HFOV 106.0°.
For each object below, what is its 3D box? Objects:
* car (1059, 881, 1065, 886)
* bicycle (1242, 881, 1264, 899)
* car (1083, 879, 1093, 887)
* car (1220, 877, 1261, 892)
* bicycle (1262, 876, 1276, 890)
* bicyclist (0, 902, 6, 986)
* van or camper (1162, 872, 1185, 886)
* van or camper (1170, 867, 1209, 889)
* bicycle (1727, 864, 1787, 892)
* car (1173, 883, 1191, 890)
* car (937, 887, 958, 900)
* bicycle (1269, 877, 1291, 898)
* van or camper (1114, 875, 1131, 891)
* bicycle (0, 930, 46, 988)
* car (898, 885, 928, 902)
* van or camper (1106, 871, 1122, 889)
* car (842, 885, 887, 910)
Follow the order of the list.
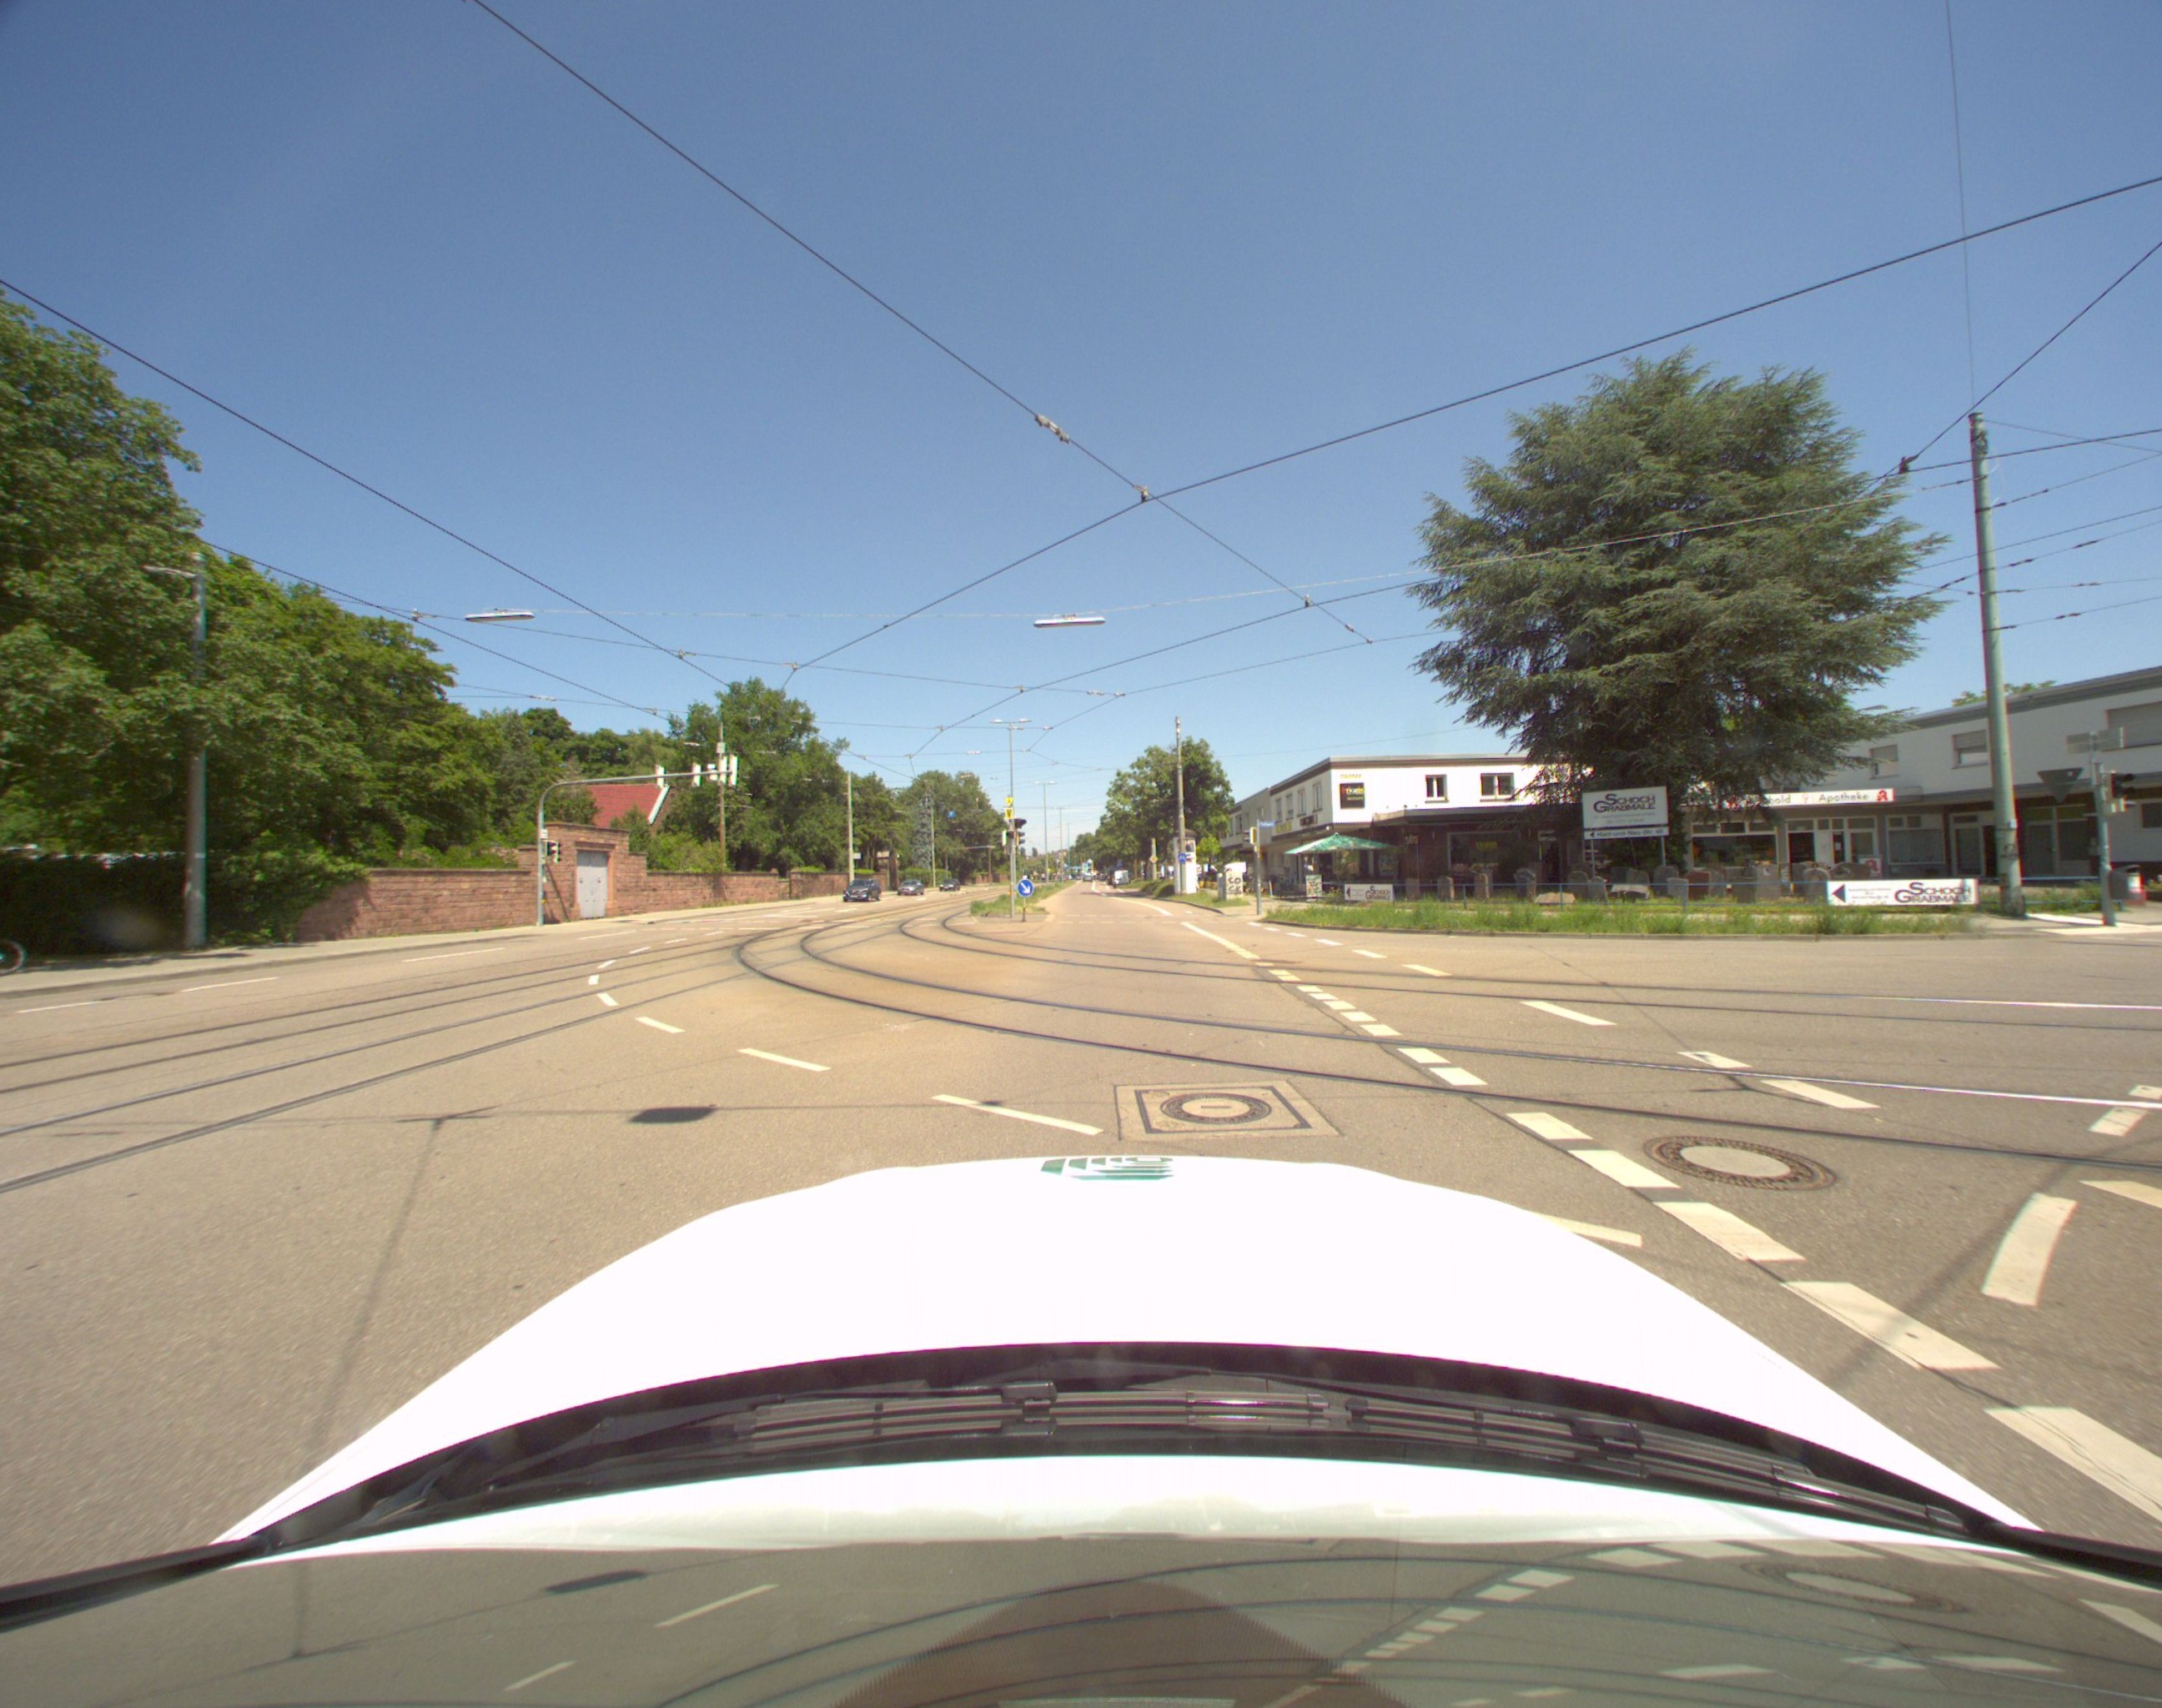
[{"bbox_3d":[-4.638,7.216,199.501,1.487,1.046,3.579,-1,-2,0],"label":"car"},{"bbox_3d":[10.235,2.117,48.529,1.028,1.015,2.642,-2,-2,8],"label":"bicycle"},{"bbox_3d":[1.349,5.611,158.320,1.632,1.351,3.839,-1,-2,-2],"label":"car"},{"bbox_3d":[15.396,2.935,78.563,3.602,1.351,1.487,-1,-2,-6],"label":"car"},{"bbox_3d":[14.341,2.216,62.194,0.505,1.065,1.862,0,-3,-2],"label":"bicycle"},{"bbox_3d":[-20.205,1.643,14.536,0.847,1.531,0.845,-2,-3,1],"label":"bicyclist"},{"bbox_3d":[14.977,4.039,131.701,3.547,2.146,1.601,-2,-2,-1],"label":"van or camper"},{"bbox_3d":[14.234,3.155,107.348,4.742,2.671,2.134,-1,-2,-1],"label":"van or camper"},{"bbox_3d":[28.633,1.025,34.537,1.858,1.192,0.600,-1,-3,12],"label":"bicycle"},{"bbox_3d":[14.850,4.751,120.280,2.575,0.962,1.151,-2,-2,5],"label":"car"},{"bbox_3d":[-15.086,4.438,92.367,1.636,1.400,4.115,0,-2,0],"label":"car"},{"bbox_3d":[11.818,1.984,48.550,0.983,1.164,2.642,-2,-2,8],"label":"bicycle"},{"bbox_3d":[4.802,3.375,94.357,1.915,1.772,4.001,-1,-2,1],"label":"van or camper"},{"bbox_3d":[-20.200,1.937,14.532,0.712,1.041,2.103,-2,-2,1],"label":"bicycle"},{"bbox_3d":[-15.217,3.520,73.826,1.634,1.421,4.170,-2,-2,3],"label":"car"},{"bbox_3d":[4.694,3.784,116.860,1.988,2.465,3.997,-1,-2,-2],"label":"van or camper"},{"bbox_3d":[-15.454,3.082,58.310,1.813,1.603,4.521,-2,-2,2],"label":"car"}]
